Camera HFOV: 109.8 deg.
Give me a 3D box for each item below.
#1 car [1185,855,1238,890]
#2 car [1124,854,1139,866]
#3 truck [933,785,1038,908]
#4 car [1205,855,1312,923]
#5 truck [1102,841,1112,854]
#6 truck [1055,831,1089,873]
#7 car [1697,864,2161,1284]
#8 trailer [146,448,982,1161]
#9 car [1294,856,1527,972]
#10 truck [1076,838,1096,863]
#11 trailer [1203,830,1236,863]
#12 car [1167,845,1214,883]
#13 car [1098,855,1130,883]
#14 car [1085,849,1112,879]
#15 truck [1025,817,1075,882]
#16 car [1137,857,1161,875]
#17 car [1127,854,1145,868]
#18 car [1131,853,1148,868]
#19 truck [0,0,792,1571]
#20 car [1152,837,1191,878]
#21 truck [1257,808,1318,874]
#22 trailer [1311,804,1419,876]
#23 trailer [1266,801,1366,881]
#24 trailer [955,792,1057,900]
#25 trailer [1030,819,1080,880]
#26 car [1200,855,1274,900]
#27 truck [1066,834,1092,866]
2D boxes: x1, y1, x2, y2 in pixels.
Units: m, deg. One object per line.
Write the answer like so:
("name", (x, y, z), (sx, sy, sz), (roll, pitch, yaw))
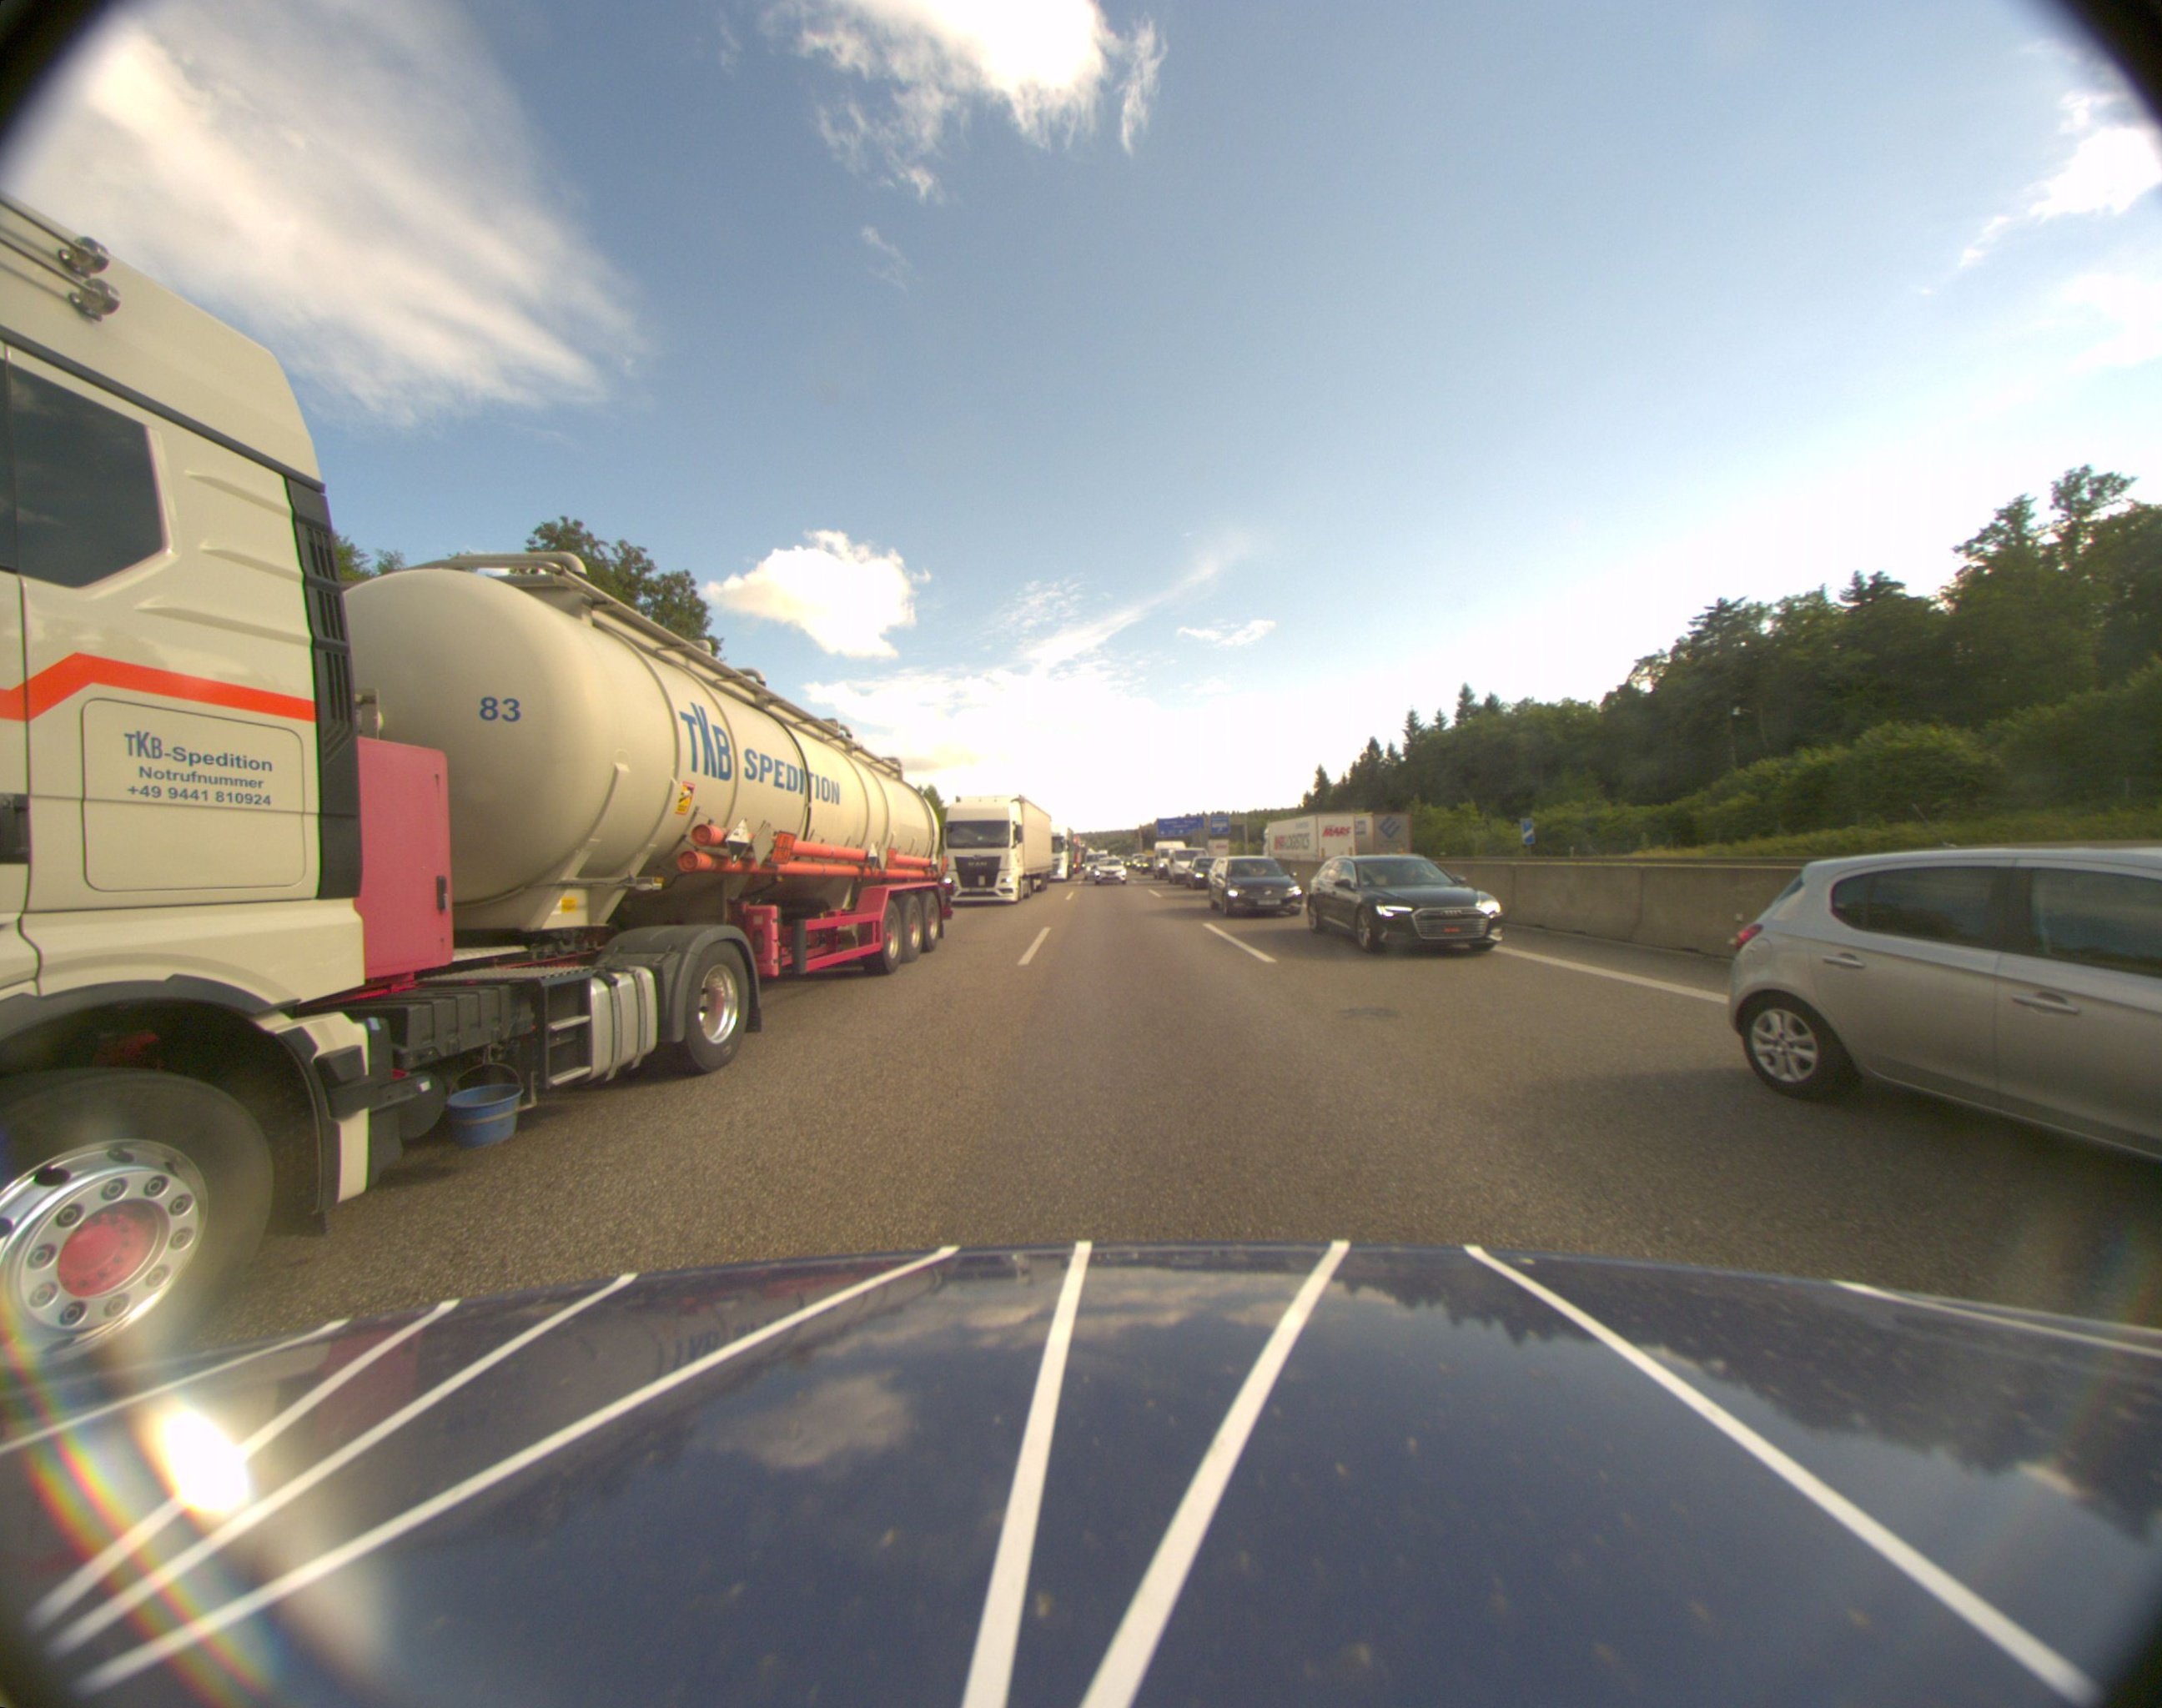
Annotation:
("car", (5.876, 0.804, 34.703), (1.809, 1.423, 3.994), (-2, 0, 2))
("car", (7.152, 0.869, 107.856), (1.920, 1.535, 3.811), (-2, 0, 2))
("truck", (-3.367, -0.267, 28.333), (2.840, 4.048, 5.708), (-2, 0, 2))
("car", (4.407, 0.799, 19.553), (1.915, 1.469, 4.569), (-2, 0, 4))
("truck", (8.703, -2.106, 248.913), (2.840, 4.178, 12.046), (-2, 1, 3))
("truck", (-0.846, -0.294, 83.275), (2.840, 4.178, 12.046), (-2, 1, 3))
("car", (4.778, 0.810, 2.823), (1.751, 1.457, 4.041), (-1, 0, 1))
("trailer", (-3.710, -0.273, 9.949), (2.805, 4.003, 11.183), (-2, 0, 2))
("car", (5.097, 0.814, 12.618), (1.887, 1.463, 4.852), (-2, 0, 2))
("truck", (1.018, -0.642, 136.067), (2.840, 4.178, 12.046), (-2, 1, 3))
("trailer", (23.450, -1.277, 129.459), (3.049, 5.250, 13.834), (-2, 1, 1))
("car", (5.987, 0.517, 41.959), (1.947, 1.953, 4.848), (-2, 0, 2))
("car", (1.929, 0.847, 45.132), (1.809, 1.487, 4.667), (-1, 0, 2))
("car", (1.276, 0.679, 55.210), (1.809, 2.052, 4.770), (-2, 0, 2))
("truck", (-2.056, -0.307, 52.564), (2.841, 4.177, 5.708), (-2, 0, 2))
("car", (5.723, 0.993, 64.178), (1.809, 1.423, 3.660), (-2, 0, 2))
("car", (5.962, 0.699, 82.758), (1.809, 1.423, 3.660), (-2, 0, 2))
("car", (7.564, 0.846, 98.654), (1.920, 1.785, 3.811), (-2, 0, 2))
("truck", (-3.987, -0.257, 3.389), (2.809, 4.020, 5.904), (-2, 0, 2))
("car", (6.098, 0.217, 51.913), (2.054, 2.557, 5.862), (-1, 0, 2))
("truck", (16.945, -1.040, 62.904), (3.096, 5.071, 7.141), (-2, 1, 1))
("trailer", (21.530, -1.027, 58.955), (2.934, 4.802, 14.652), (-2, 1, 1))
("trailer", (16.857, -0.926, 55.940), (3.096, 5.044, 13.833), (-2, 1, 1))
("trailer", (-3.065, -0.318, 35.747), (2.832, 4.047, 13.373), (-2, 0, 2))
("trailer", (-1.799, -0.330, 59.780), (2.841, 4.177, 13.614), (-2, 0, 2))
("car", (5.608, 0.792, 27.873), (1.809, 1.423, 4.667), (-2, 0, 2))
("truck", (-0.138, -0.582, 107.756), (2.840, 4.178, 12.046), (-2, 1, 3))
